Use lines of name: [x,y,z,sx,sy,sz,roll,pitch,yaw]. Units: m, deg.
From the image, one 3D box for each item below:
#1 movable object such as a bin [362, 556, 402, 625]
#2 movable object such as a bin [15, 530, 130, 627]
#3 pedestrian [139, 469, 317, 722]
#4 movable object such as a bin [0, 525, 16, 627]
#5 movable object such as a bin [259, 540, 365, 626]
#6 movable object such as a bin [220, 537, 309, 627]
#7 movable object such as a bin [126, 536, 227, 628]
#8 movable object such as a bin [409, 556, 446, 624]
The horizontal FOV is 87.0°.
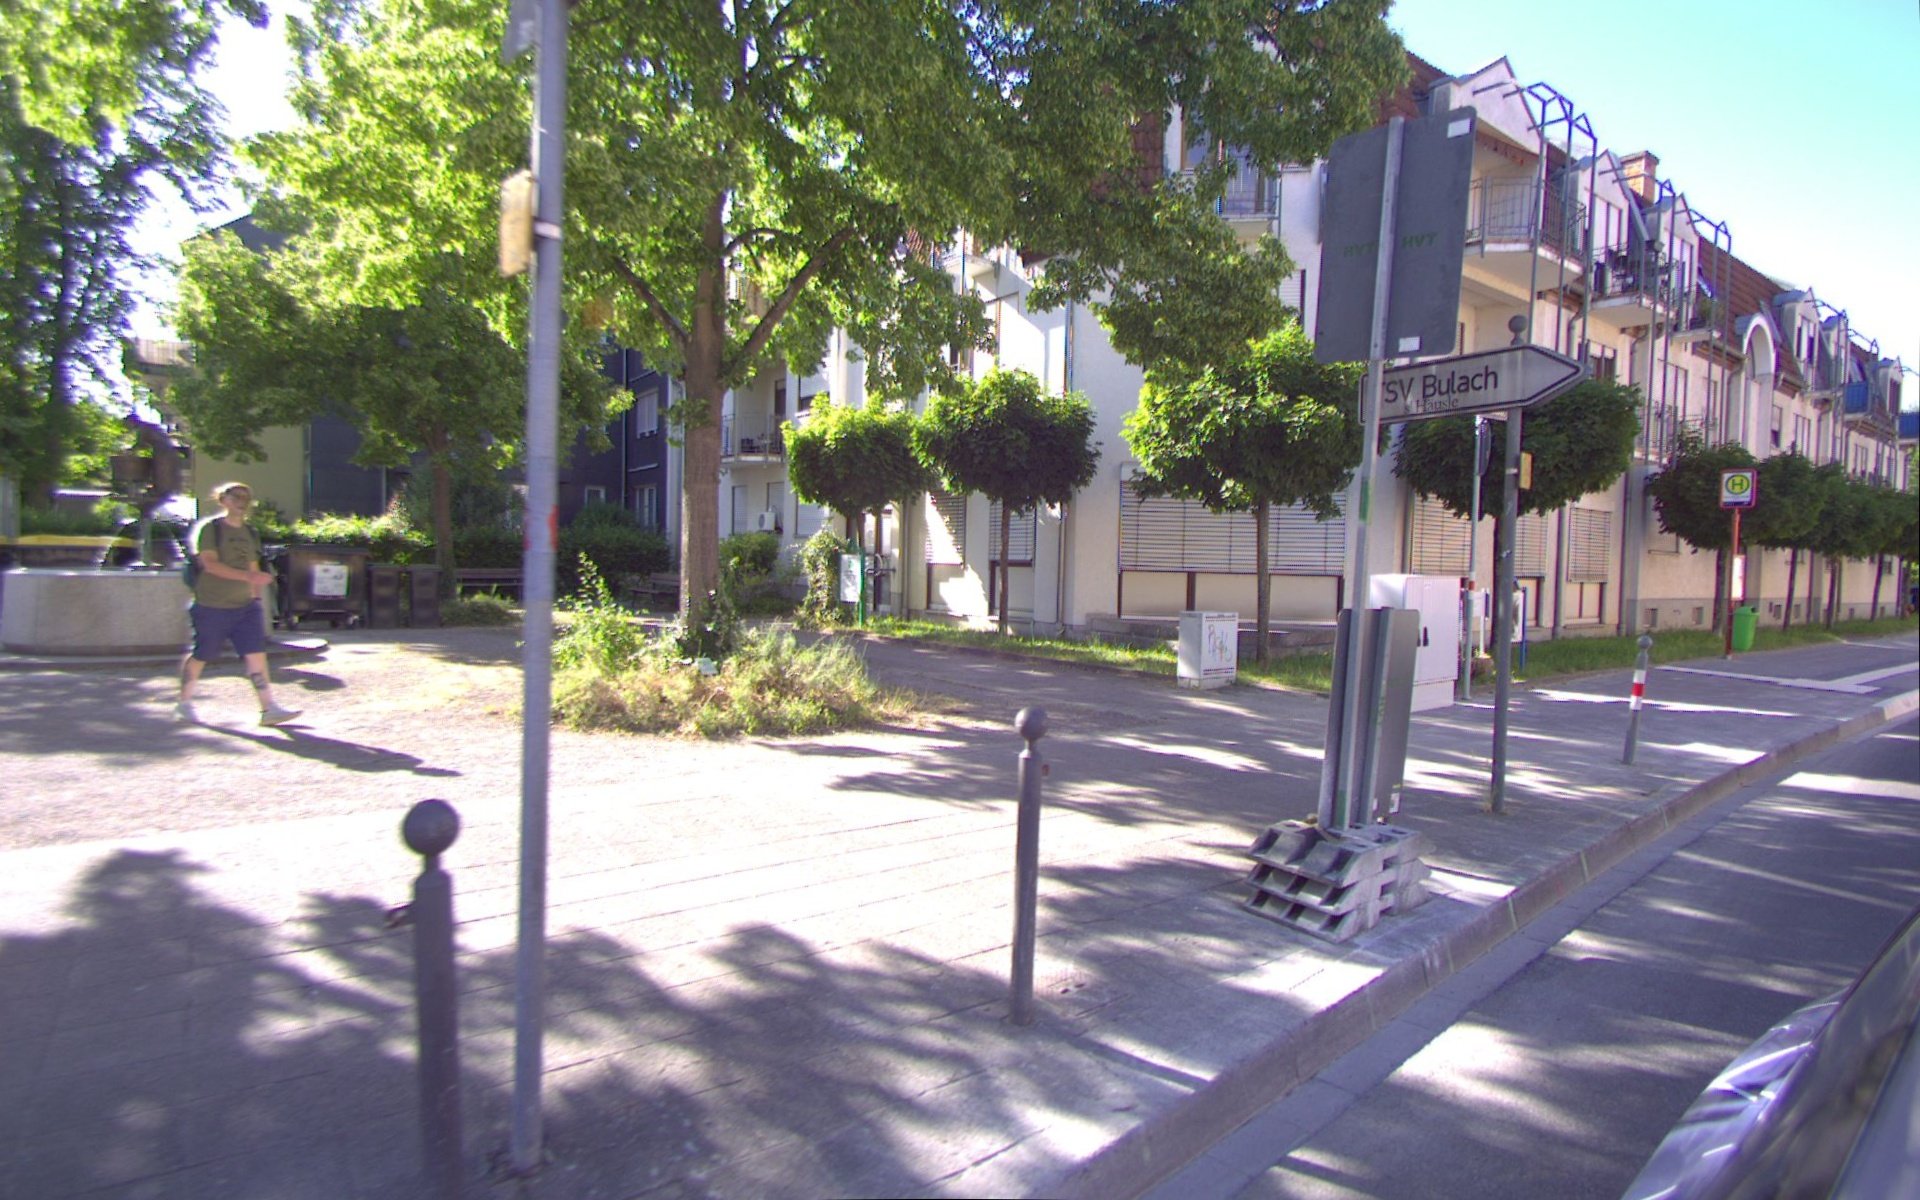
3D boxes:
movable object such as a bin: [-9.505,-0.164,16.664,0.549,1.106,0.710,0,0,-28]
movable object such as a bin: [-12.225,-0.289,13.985,0.995,1.271,0.973,0,0,-29]
pedestrian: [-5.278,-0.042,7.340,0.812,1.738,0.660,1,2,2]
movable object such as a bin: [-13.344,-0.312,13.351,1.083,1.357,0.973,0,0,-29]
movable object such as a bin: [-10.046,-0.259,15.706,1.024,1.271,1.117,0,0,38]
movable object such as a bin: [-10.317,-0.264,15.051,0.995,1.271,0.973,0,0,-29]
movable object such as a bin: [-11.243,-0.254,14.569,0.995,1.271,0.973,0,0,-29]
movable object such as a bin: [-8.950,-0.170,17.008,0.549,1.106,0.710,0,0,-28]
